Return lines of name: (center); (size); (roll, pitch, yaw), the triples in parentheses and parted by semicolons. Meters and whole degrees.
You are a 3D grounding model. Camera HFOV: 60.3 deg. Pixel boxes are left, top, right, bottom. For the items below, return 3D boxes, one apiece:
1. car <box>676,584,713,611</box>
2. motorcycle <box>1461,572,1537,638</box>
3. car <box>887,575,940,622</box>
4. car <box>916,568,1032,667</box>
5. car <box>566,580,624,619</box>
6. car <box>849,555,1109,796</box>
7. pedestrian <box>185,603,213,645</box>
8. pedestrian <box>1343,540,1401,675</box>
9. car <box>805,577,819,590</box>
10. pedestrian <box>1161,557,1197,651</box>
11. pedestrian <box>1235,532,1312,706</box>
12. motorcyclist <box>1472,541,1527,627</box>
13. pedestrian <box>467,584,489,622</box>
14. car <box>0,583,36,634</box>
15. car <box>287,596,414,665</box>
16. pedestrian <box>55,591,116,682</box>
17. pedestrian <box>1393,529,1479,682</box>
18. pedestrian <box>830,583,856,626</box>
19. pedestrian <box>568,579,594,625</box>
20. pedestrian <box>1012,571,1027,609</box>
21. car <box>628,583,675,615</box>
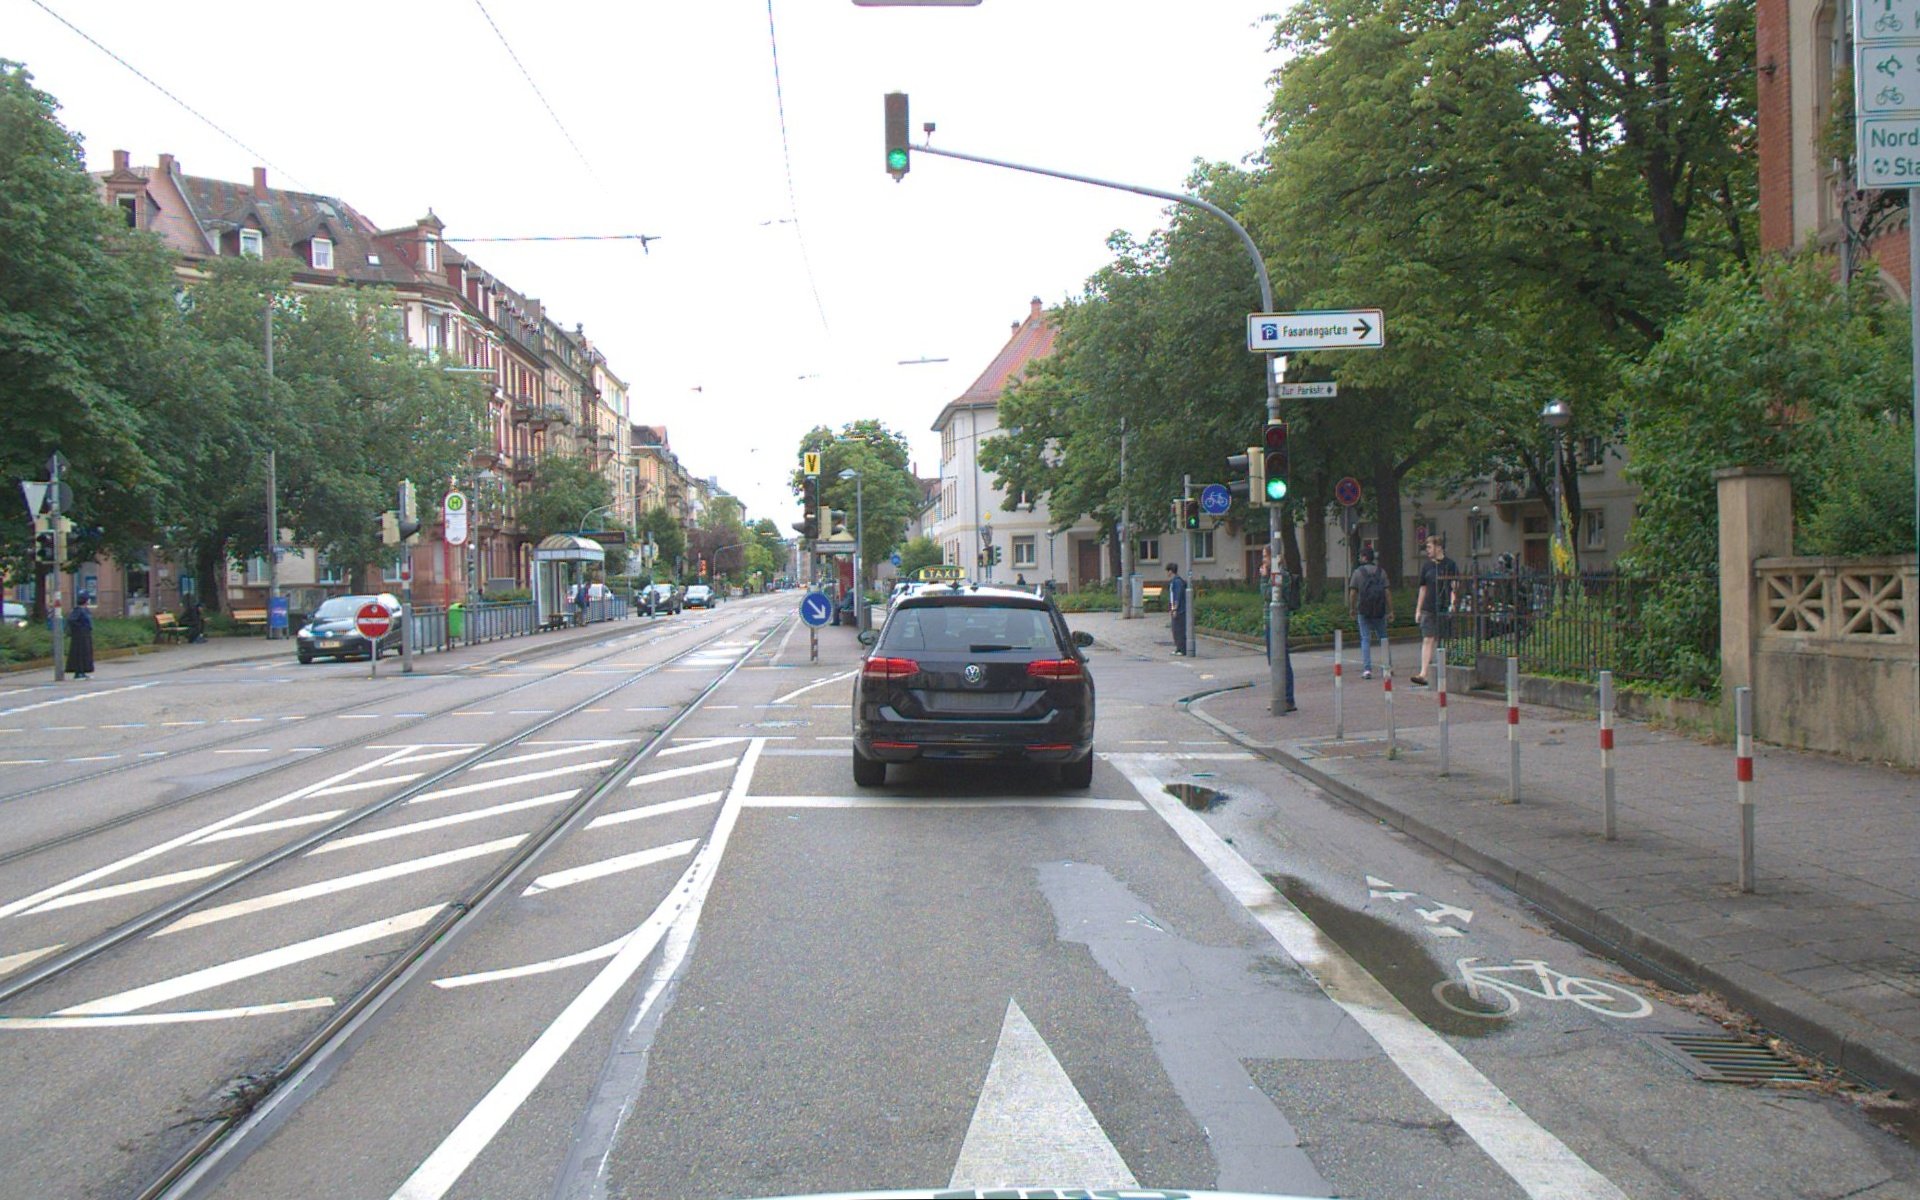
car: (-16.956, -0.160, 105.741); (1.759, 1.624, 3.999); (-2, 1, -2)
motorcycle: (11.020, 0.092, 33.791); (1.885, 1.257, 0.442); (-2, 1, -36)
car: (-1.689, -0.067, 58.747); (1.690, 1.573, 3.997); (-1, 1, -4)
car: (0.175, 0.261, 28.989); (1.690, 1.573, 3.997); (-1, 1, -4)
car: (-16.131, -0.046, 73.193); (1.759, 1.624, 3.999); (-2, 1, -2)
car: (0.000, 0.475, 13.077); (1.690, 1.573, 3.997); (-1, 1, -4)
pedestrian: (-21.840, 0.680, 47.481); (0.582, 1.189, 0.835); (-2, 1, -33)
pedestrian: (5.800, 0.102, 23.283); (0.619, 1.846, 0.726); (-2, 0, 3)
car: (-22.718, -2.511, 254.063); (1.993, 2.049, 3.996); (-1, 0, -4)
pedestrian: (4.441, 0.071, 33.537); (0.504, 1.862, 0.417); (-5, 1, -3)
pedestrian: (3.482, 0.207, 18.398); (0.574, 1.862, 0.603); (-5, 1, -3)
motorcyclist: (11.020, -0.335, 33.807); (0.795, 1.721, 0.697); (-2, 1, -35)
pedestrian: (-20.238, 0.133, 69.458); (0.577, 1.547, 0.647); (-1, 1, 31)
car: (-31.605, 0.287, 53.049); (1.759, 1.624, 3.999); (-2, 1, -2)
car: (-13.742, 0.656, 37.514); (1.653, 1.406, 3.854); (-2, 1, -4)
pedestrian: (-16.798, 0.693, 31.780); (0.820, 1.692, 0.590); (-2, 0, -3)
pedestrian: (5.968, 0.061, 20.743); (0.787, 1.863, 0.648); (-1, 1, 45)
pedestrian: (-3.725, 0.131, 52.612); (0.807, 1.327, 0.568); (-2, 0, -5)
pedestrian: (-12.834, 0.063, 56.022); (0.700, 1.547, 0.589); (-2, 0, -3)
pedestrian: (2.498, -0.410, 69.811); (0.570, 1.581, 0.609); (-1, 0, -2)
car: (-16.175, -0.078, 86.872); (1.759, 1.624, 3.999); (-2, 1, -2)
